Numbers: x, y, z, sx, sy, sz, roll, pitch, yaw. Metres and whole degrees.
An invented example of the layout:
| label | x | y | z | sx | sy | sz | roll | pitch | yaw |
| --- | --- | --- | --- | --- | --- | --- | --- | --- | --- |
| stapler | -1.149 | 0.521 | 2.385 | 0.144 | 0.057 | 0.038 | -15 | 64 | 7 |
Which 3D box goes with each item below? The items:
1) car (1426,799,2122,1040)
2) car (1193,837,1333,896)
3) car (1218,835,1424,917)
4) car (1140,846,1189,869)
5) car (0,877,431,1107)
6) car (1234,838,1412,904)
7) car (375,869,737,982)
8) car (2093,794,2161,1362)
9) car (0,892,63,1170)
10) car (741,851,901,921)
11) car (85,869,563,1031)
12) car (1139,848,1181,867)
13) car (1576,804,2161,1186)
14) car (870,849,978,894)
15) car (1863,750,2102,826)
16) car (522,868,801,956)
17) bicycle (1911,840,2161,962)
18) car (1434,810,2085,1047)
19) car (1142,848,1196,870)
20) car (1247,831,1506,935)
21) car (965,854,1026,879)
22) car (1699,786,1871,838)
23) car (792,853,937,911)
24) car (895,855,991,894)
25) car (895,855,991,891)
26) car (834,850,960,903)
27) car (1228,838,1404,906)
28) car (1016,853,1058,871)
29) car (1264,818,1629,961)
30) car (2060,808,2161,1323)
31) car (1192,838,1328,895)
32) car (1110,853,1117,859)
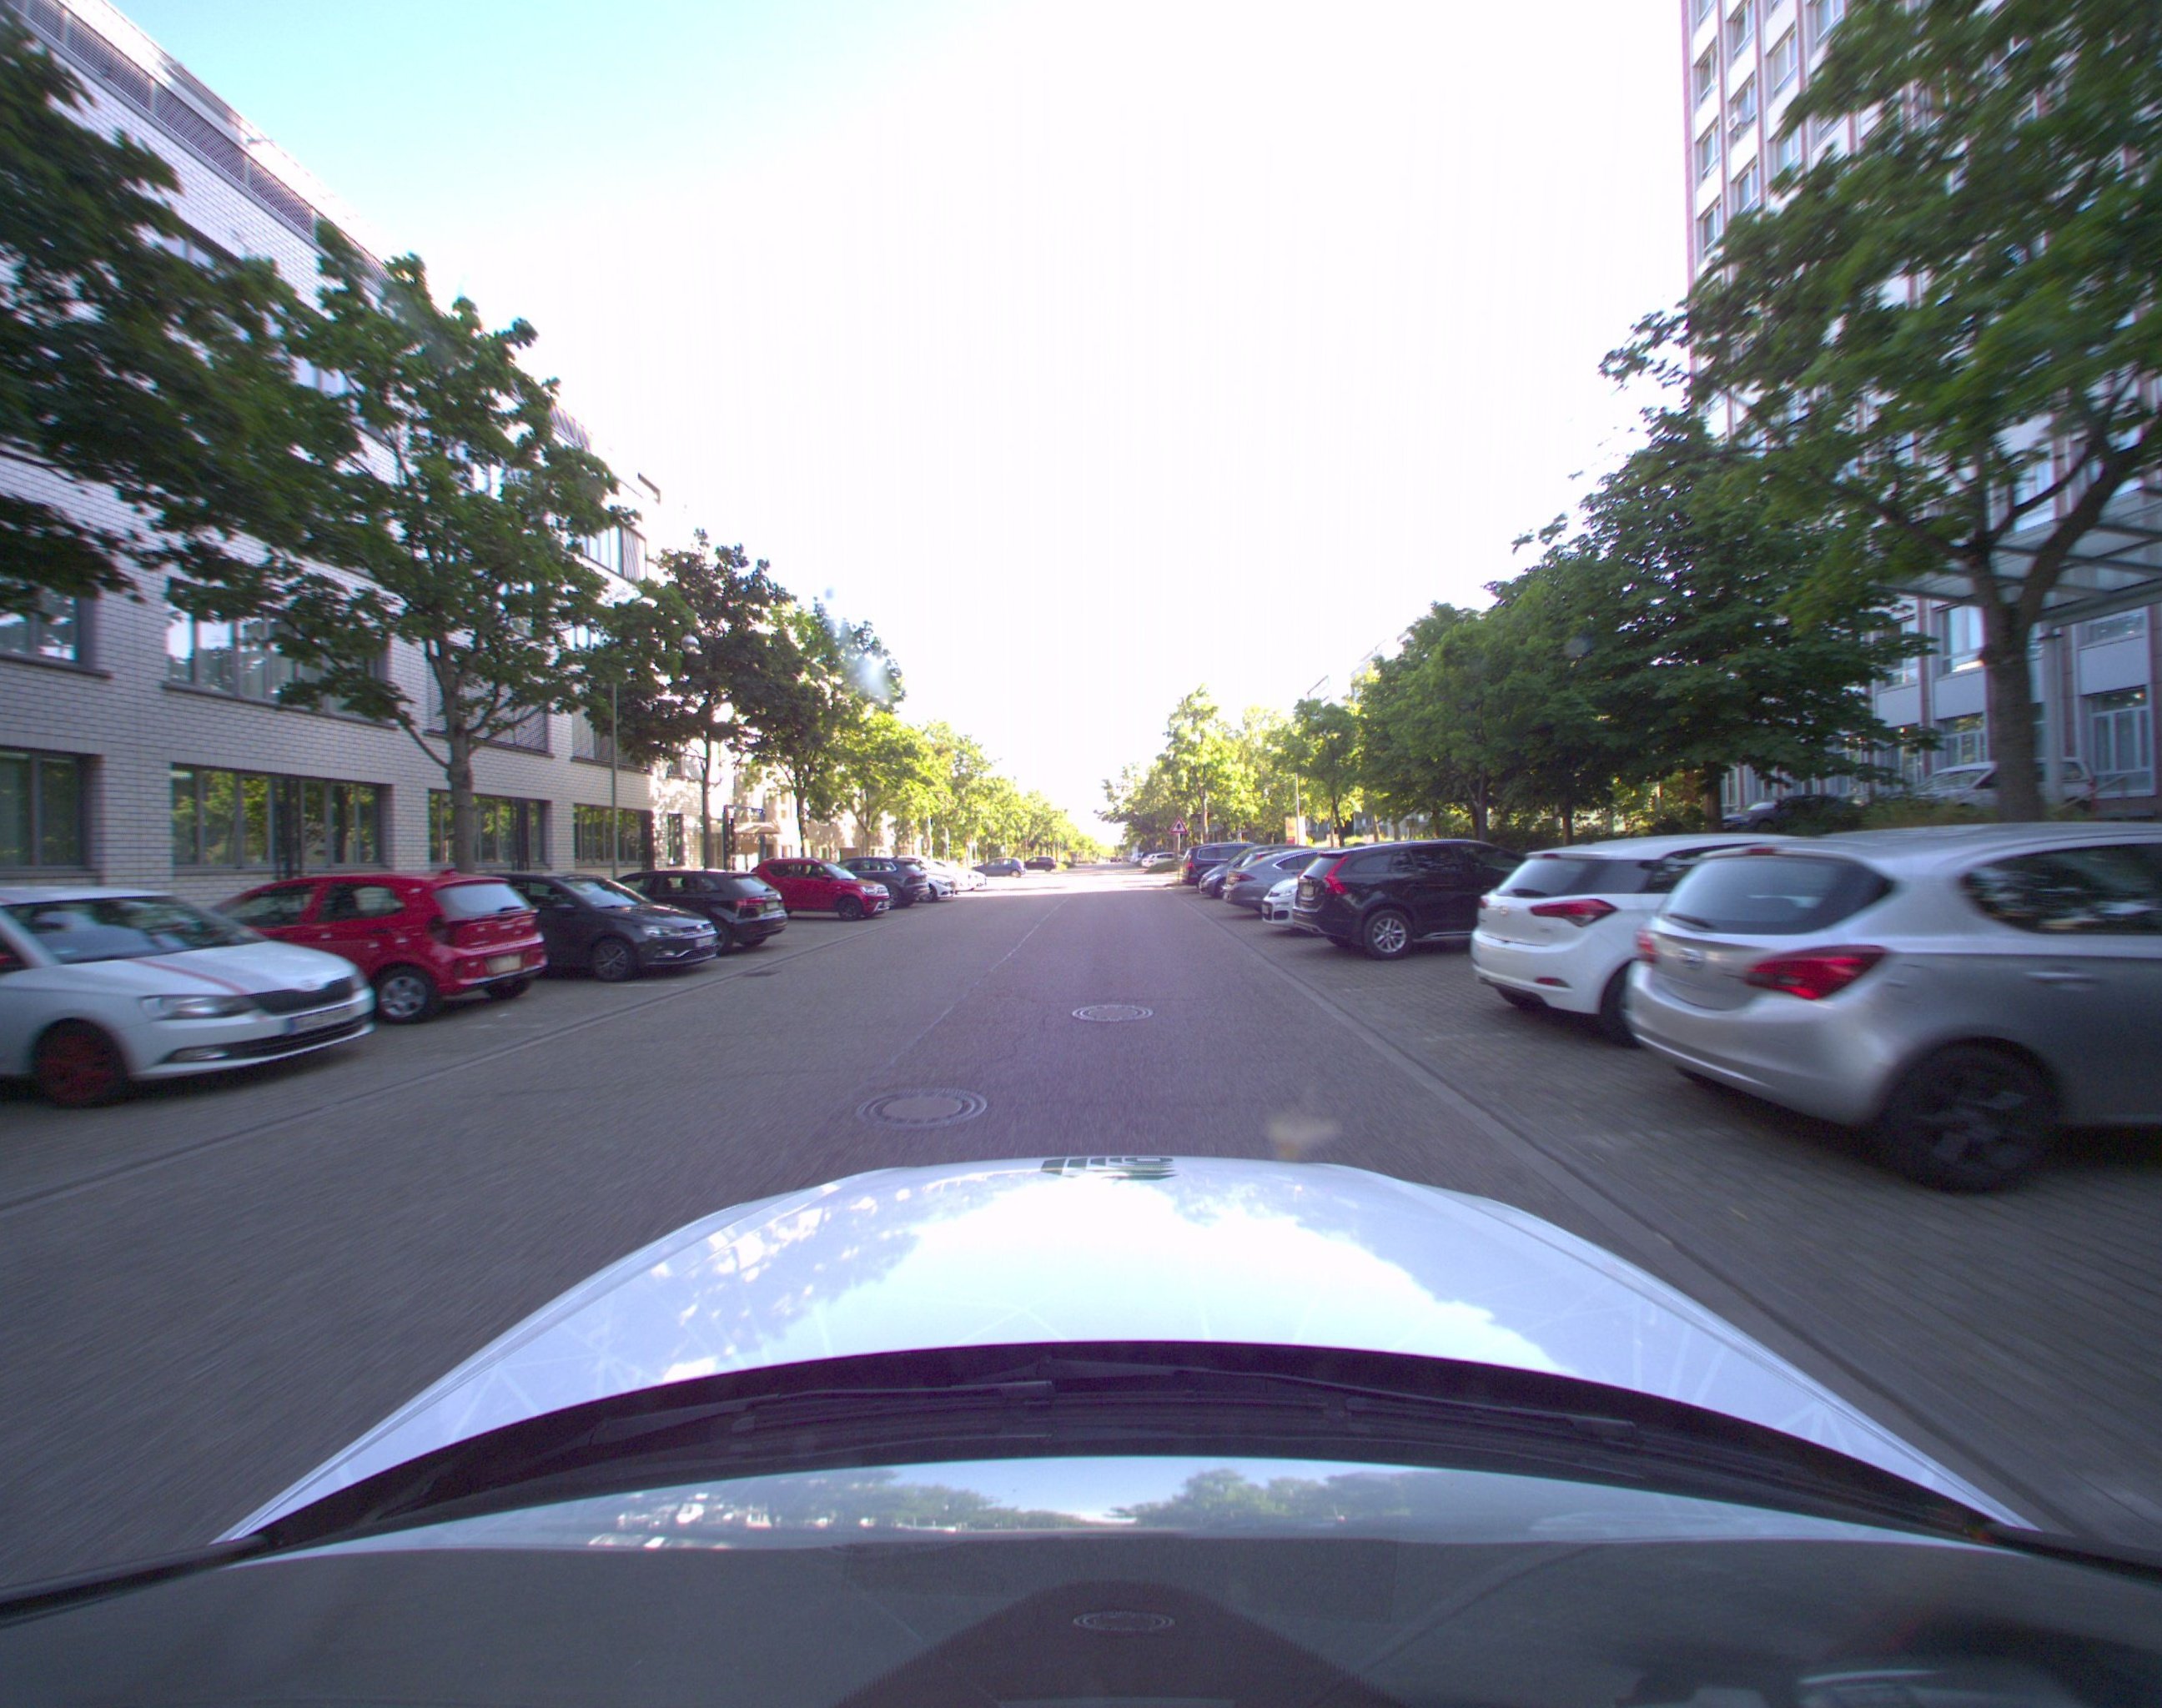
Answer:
| label | x | y | z | sx | sy | sz | roll | pitch | yaw |
| --- | --- | --- | --- | --- | --- | --- | --- | --- | --- |
| car | 5.123 | 0.450 | 6.539 | 3.851 | 1.468 | 1.967 | -3 | 0 | 2 |
| car | 5.712 | 0.386 | 25.867 | 4.032 | 1.582 | 1.640 | -3 | 0 | -1 |
| car | 5.206 | 0.468 | 18.000 | 4.032 | 1.491 | 1.549 | -3 | 0 | -1 |
| car | 7.178 | 0.308 | 70.260 | 3.978 | 1.792 | 1.998 | -2 | 0 | -3 |
| car | -7.759 | 0.968 | 6.369 | 3.854 | 1.457 | 1.754 | 0 | 1 | -1 |
| car | 6.194 | 0.427 | 21.150 | 4.033 | 1.421 | 1.735 | -3 | 0 | -2 |
| car | -7.184 | 0.947 | 11.436 | 3.973 | 1.412 | 1.665 | 0 | -1 | 0 |
| car | 4.769 | 0.520 | 1.291 | 3.868 | 1.526 | 1.896 | -3 | 0 | 2 |
| car | -7.571 | 0.938 | 3.769 | 3.747 | 1.445 | 1.632 | 0 | -1 | 2 |
| car | -6.753 | 0.822 | 21.372 | 3.525 | 1.657 | 1.763 | -2 | -1 | 3 |
| car | -7.830 | 0.935 | 8.726 | 3.411 | 1.463 | 1.694 | 0 | 1 | -3 |
| car | 7.968 | 0.320 | 82.315 | 3.978 | 1.792 | 1.998 | -2 | 0 | -3 |
| car | 4.771 | 0.526 | 3.990 | 3.617 | 1.467 | 1.636 | -3 | 0 | 6 |
| car | -6.449 | 0.713 | 33.754 | 3.968 | 1.654 | 1.863 | -3 | 0 | 4 |
| car | 23.155 | -1.670 | 21.041 | 4.061 | 1.783 | 1.998 | 0 | -1 | -2 |
| car | -7.122 | 0.961 | 14.117 | 3.974 | 1.406 | 1.605 | 0 | -1 | 0 |
| bicycle | 9.303 | 0.433 | 7.857 | 0.382 | 1.078 | 1.766 | -2 | 0 | -39 |
| car | 5.194 | 0.522 | 6.666 | 3.741 | 1.449 | 1.879 | -3 | 0 | -1 |
| car | 6.895 | 0.402 | 64.154 | 3.978 | 1.624 | 1.998 | -2 | 0 | -3 |
| car | 5.178 | 0.476 | 14.524 | 4.038 | 1.591 | 1.547 | -2 | 0 | -5 |
| car | -5.823 | 0.846 | 55.681 | 3.977 | 1.533 | 1.616 | -2 | 0 | -2 |
| car | 24.184 | -1.429 | 28.093 | 4.289 | 1.672 | 1.998 | 0 | 0 | -2 |
| car | -6.743 | 0.867 | 25.566 | 3.968 | 1.587 | 1.767 | -3 | -1 | 5 |
| car | -6.157 | 0.892 | 36.654 | 3.879 | 1.612 | 1.858 | -2 | 0 | 1 |
| car | -6.157 | 0.849 | 36.675 | 3.974 | 1.481 | 1.680 | -2 | 0 | 0 |
| car | -6.427 | 0.773 | 28.757 | 3.973 | 1.719 | 1.709 | -1 | 0 | 1 |
| car | 5.968 | 0.452 | 20.967 | 4.032 | 1.454 | 1.519 | -3 | 0 | -1 |
| car | -4.327 | 0.785 | 80.538 | 3.971 | 1.684 | 2.001 | -2 | 0 | 2 |
| car | 4.991 | 0.448 | 11.503 | 4.241 | 1.554 | 1.917 | -4 | 0 | -5 |
| car | 4.856 | 0.504 | 1.466 | 3.724 | 1.467 | 1.912 | -3 | 0 | 3 |
| car | 5.633 | 0.383 | 25.923 | 3.882 | 1.656 | 1.857 | -2 | 0 | -2 |
| car | 9.742 | 0.587 | 244.778 | 1.926 | 1.597 | 4.368 | -2 | 0 | 2 |
